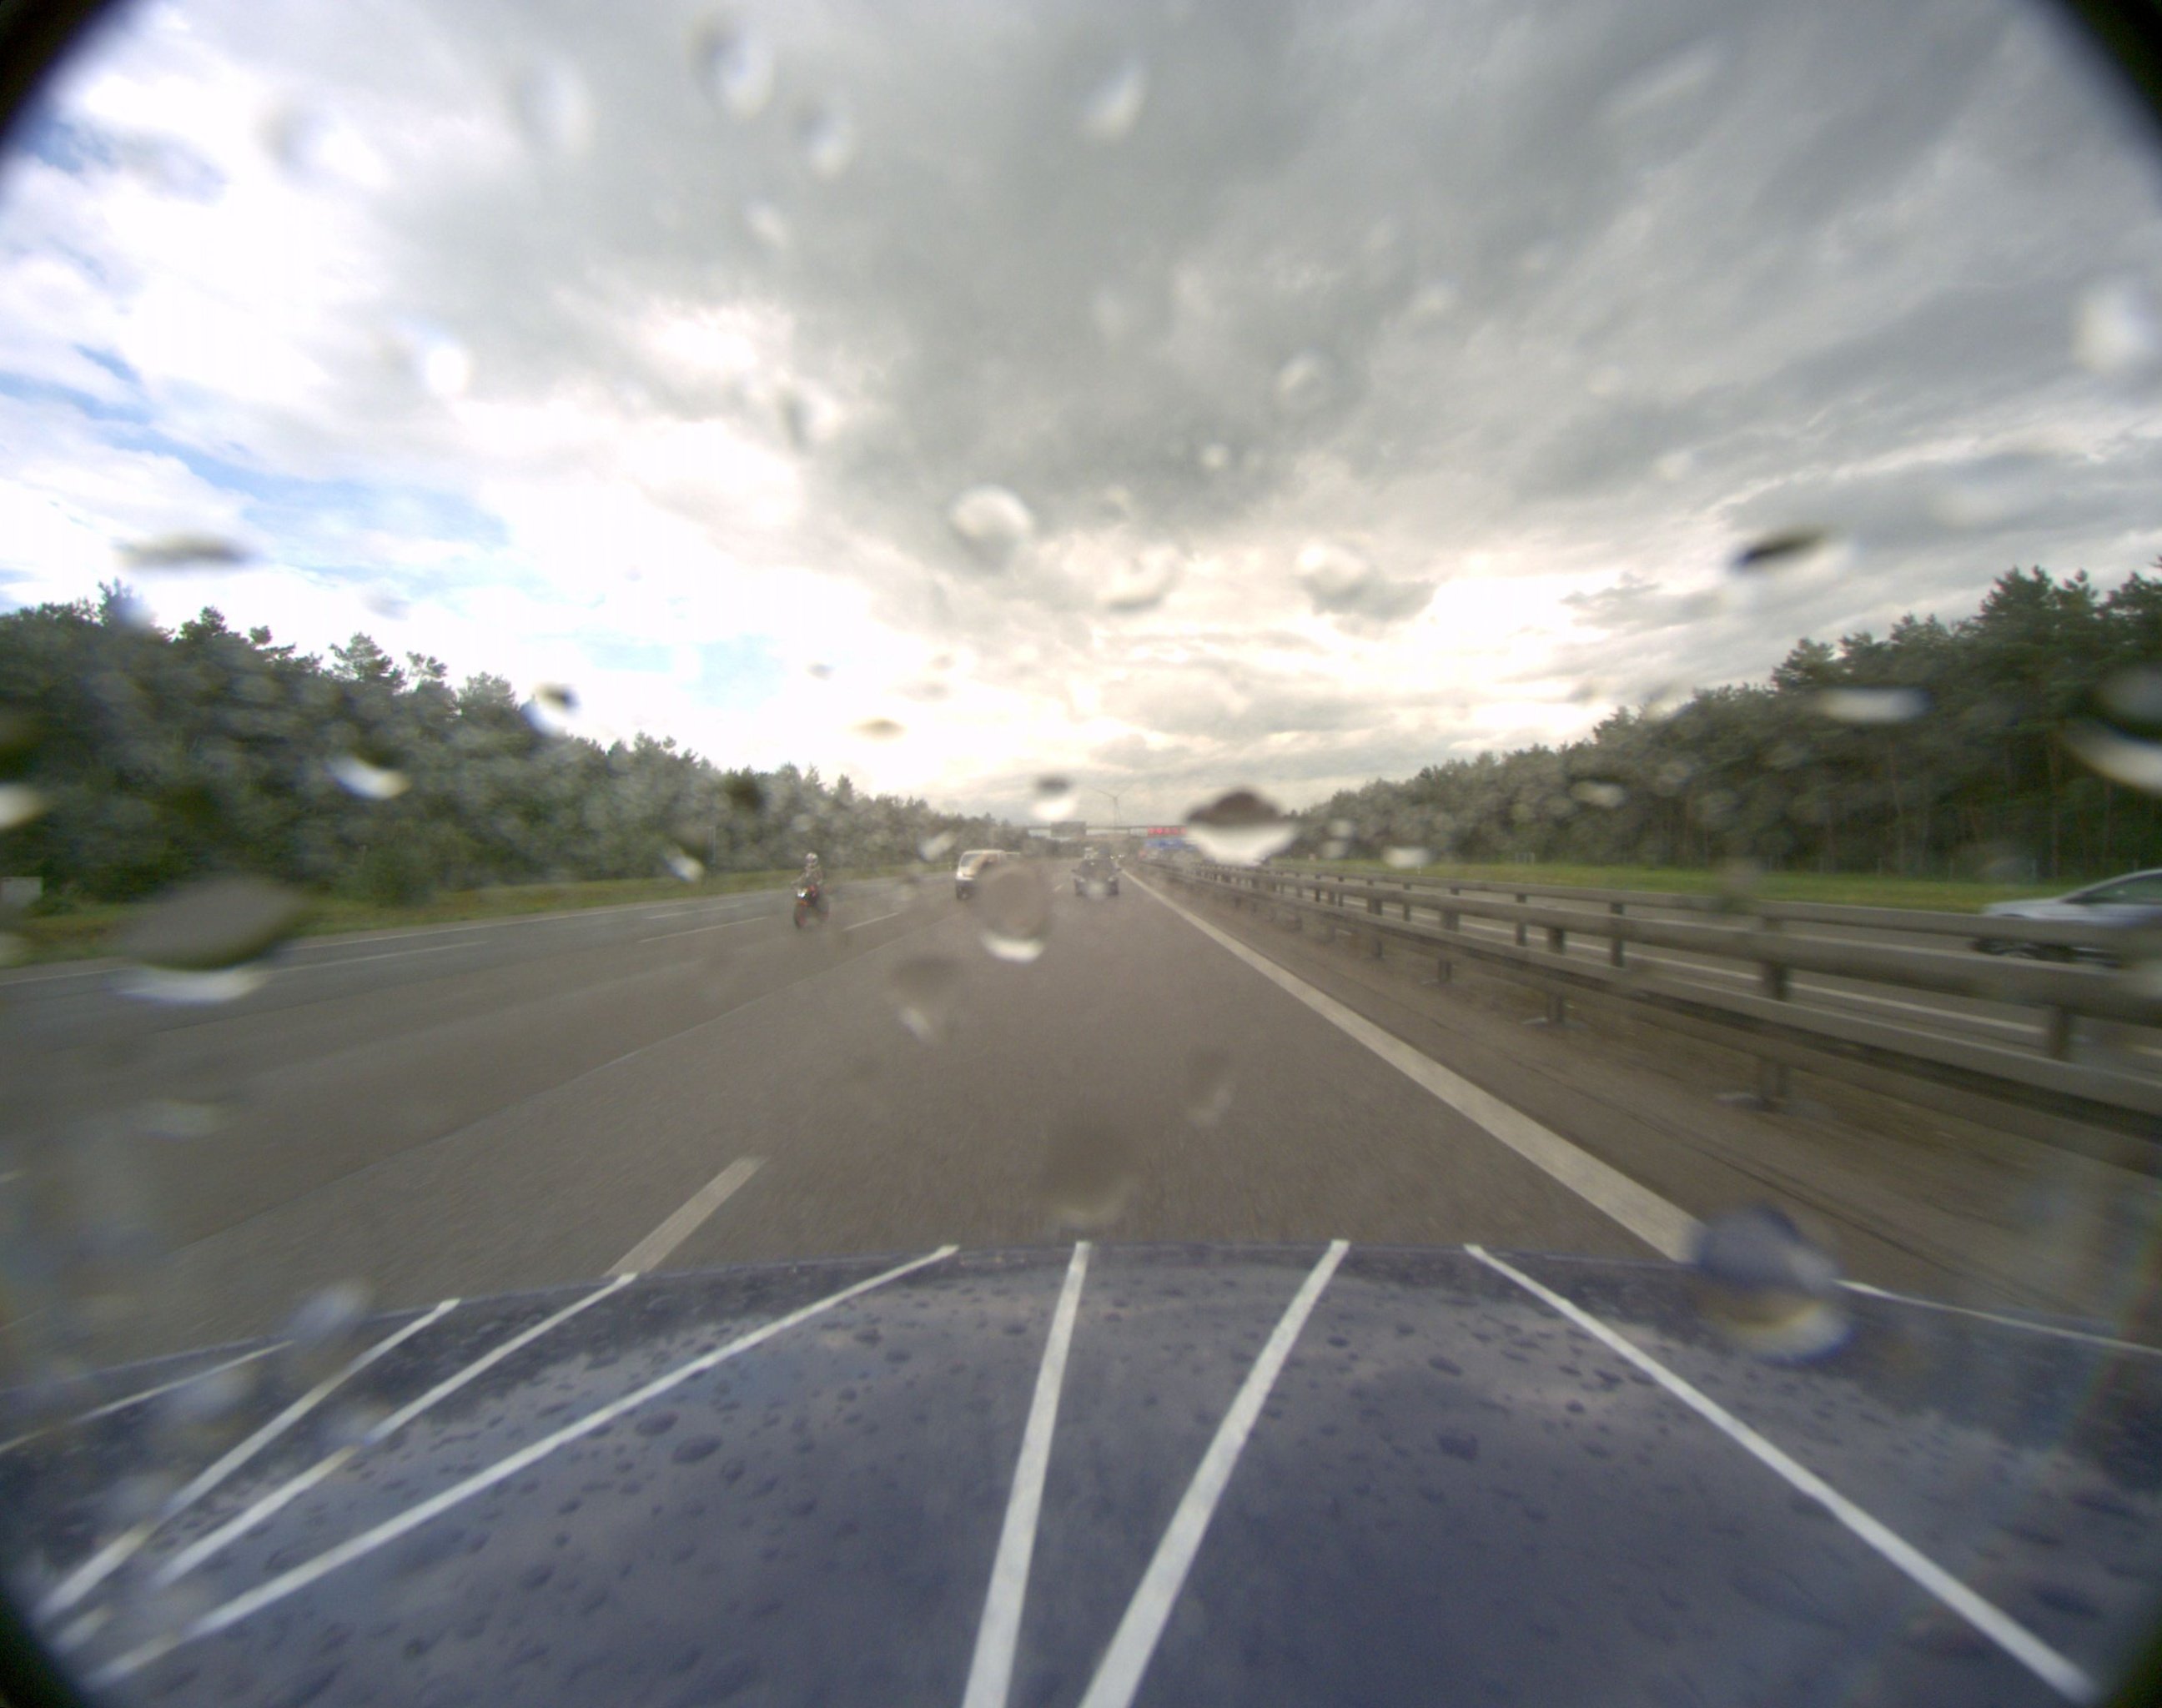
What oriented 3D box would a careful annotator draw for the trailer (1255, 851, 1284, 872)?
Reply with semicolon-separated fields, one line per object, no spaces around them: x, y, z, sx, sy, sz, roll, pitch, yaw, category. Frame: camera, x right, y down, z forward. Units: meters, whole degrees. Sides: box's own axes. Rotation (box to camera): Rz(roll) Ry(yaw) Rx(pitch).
15.319;0.600;61.859;1.484;1.663;3.208;1;0;-1;trailer

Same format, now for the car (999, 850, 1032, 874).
-5.881;0.678;68.923;1.998;2.002;5.485;-2;0;5;car

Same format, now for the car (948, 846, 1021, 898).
-3.729;0.657;30.267;1.968;1.890;4.882;-1;0;3;car

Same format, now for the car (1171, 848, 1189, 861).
12.383;0.036;95.070;1.789;1.538;4.402;0;0;1;car

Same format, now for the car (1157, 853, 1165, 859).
21.626;0.583;205.723;1.757;1.570;3.848;-1;0;2;car

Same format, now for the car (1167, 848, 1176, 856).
19.728;-0.362;165.639;1.728;1.674;4.137;2;0;2;car

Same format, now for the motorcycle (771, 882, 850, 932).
-6.479;1.255;18.362;1.002;1.025;2.174;-1;0;3;motorcycle

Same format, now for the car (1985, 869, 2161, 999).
13.434;0.951;8.552;1.732;1.472;3.999;0;0;0;car

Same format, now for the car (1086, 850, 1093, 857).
2.737;-0.176;245.874;1.998;2.002;4.001;0;0;3;car

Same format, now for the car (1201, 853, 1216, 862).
21.271;0.581;126.986;1.904;1.539;4.513;2;0;2;car

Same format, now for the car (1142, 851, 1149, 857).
18.568;-0.036;218.717;1.794;1.533;3.722;0;0;3;car

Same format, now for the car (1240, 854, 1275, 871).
15.221;0.713;65.775;1.833;1.412;4.572;1;0;-1;car

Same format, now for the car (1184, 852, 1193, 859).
24.389;0.355;172.566;1.728;1.388;4.184;1;0;2;car

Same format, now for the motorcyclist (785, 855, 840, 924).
-6.498;0.842;18.439;0.893;1.605;0.959;-1;1;3;motorcyclist

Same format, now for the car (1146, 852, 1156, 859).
13.294;0.224;144.462;1.697;1.368;4.000;-1;0;2;car

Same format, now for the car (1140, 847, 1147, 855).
21.286;-0.947;259.054;2.138;2.646;6.674;0;0;2;car

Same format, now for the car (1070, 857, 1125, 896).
0.713;0.824;29.479;1.809;1.321;4.433;-1;0;5;car
